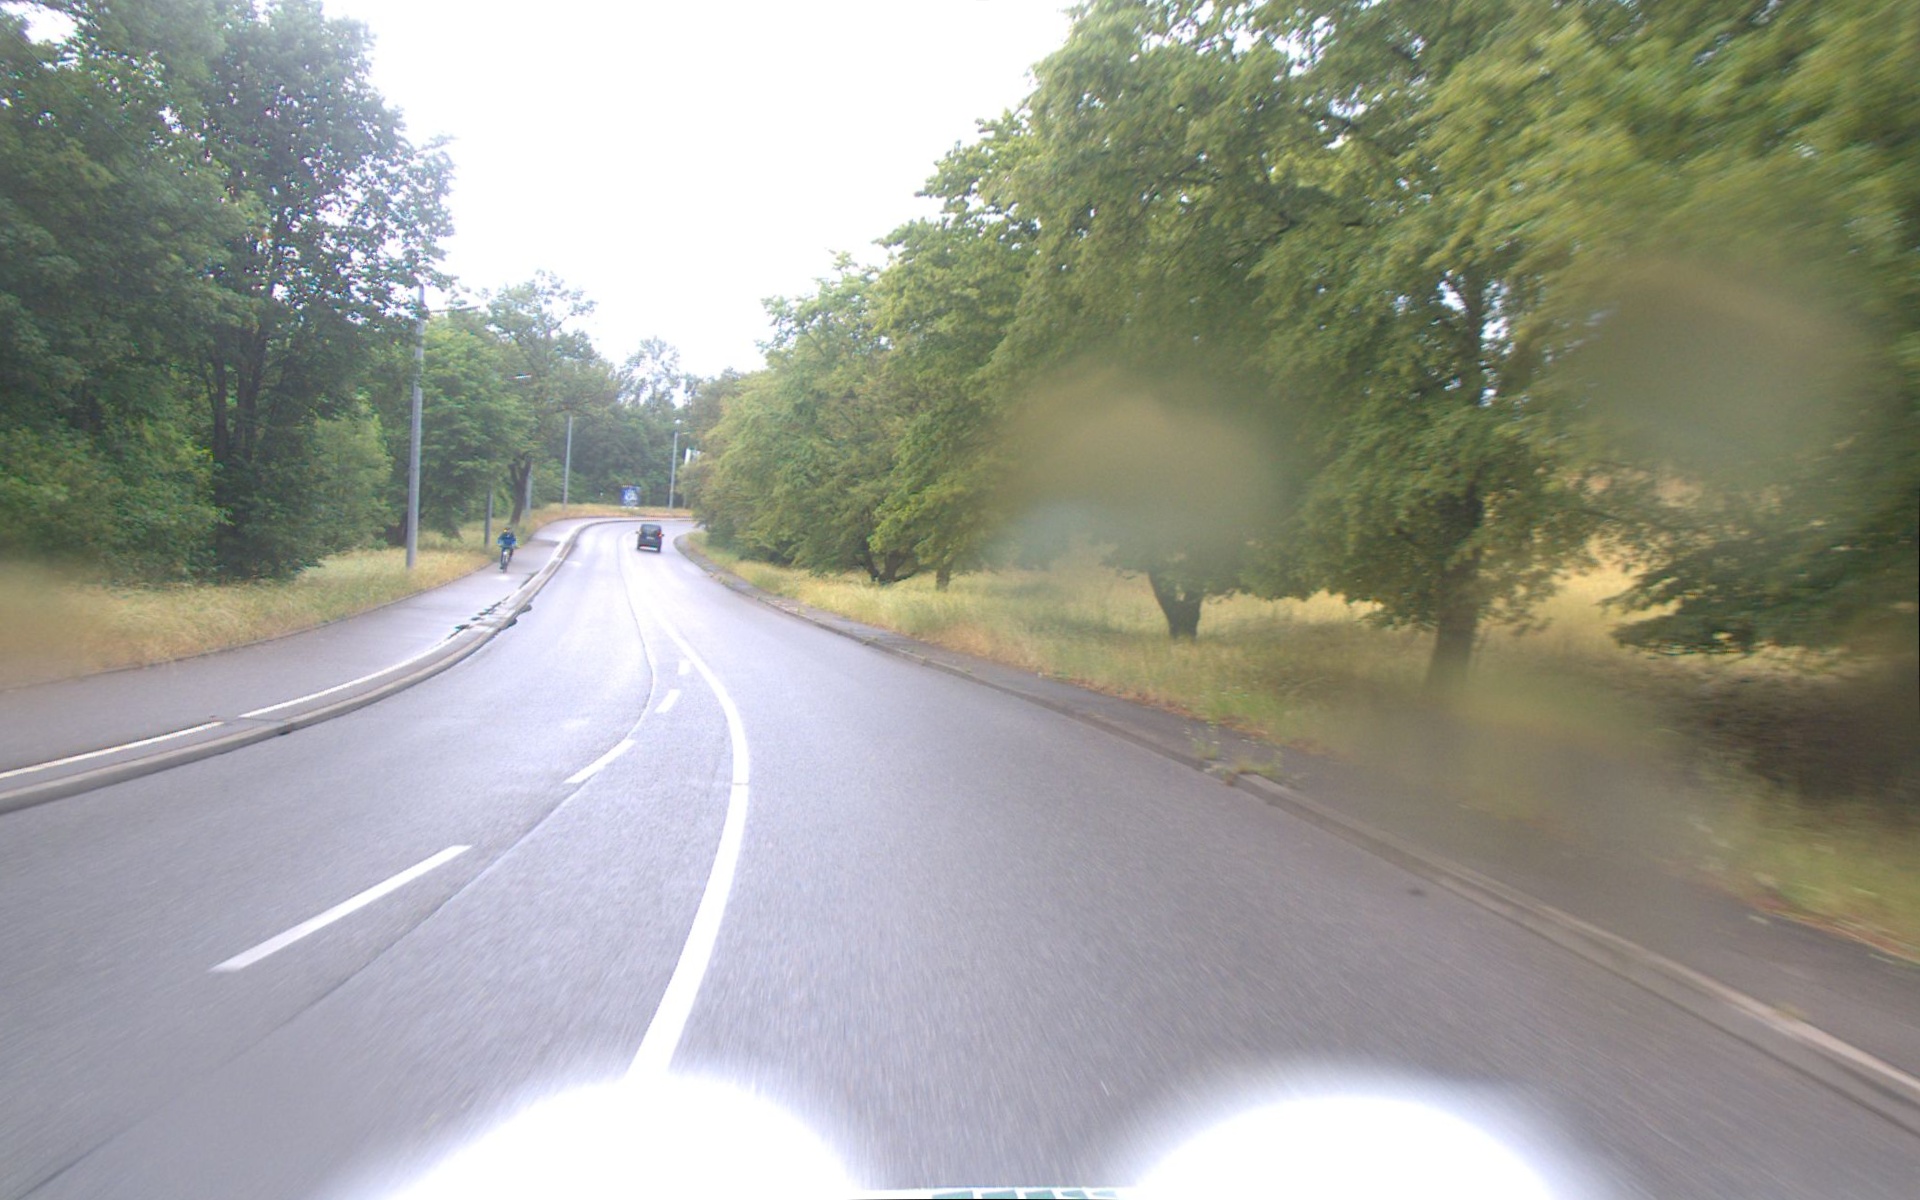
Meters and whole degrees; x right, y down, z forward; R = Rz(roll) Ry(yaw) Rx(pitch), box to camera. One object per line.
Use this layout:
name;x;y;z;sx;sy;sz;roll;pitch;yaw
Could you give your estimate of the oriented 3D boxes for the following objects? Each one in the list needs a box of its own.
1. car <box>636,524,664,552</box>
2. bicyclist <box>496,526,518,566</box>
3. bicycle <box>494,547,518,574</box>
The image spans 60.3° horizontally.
car;-21.340;-4.266;113.699;1.711;1.746;3.990;4;1;-11
bicyclist;-18.506;-2.208;67.642;0.696;1.582;1.167;5;1;-13
bicycle;-18.524;-1.618;67.516;0.711;0.958;2.543;5;1;-13
